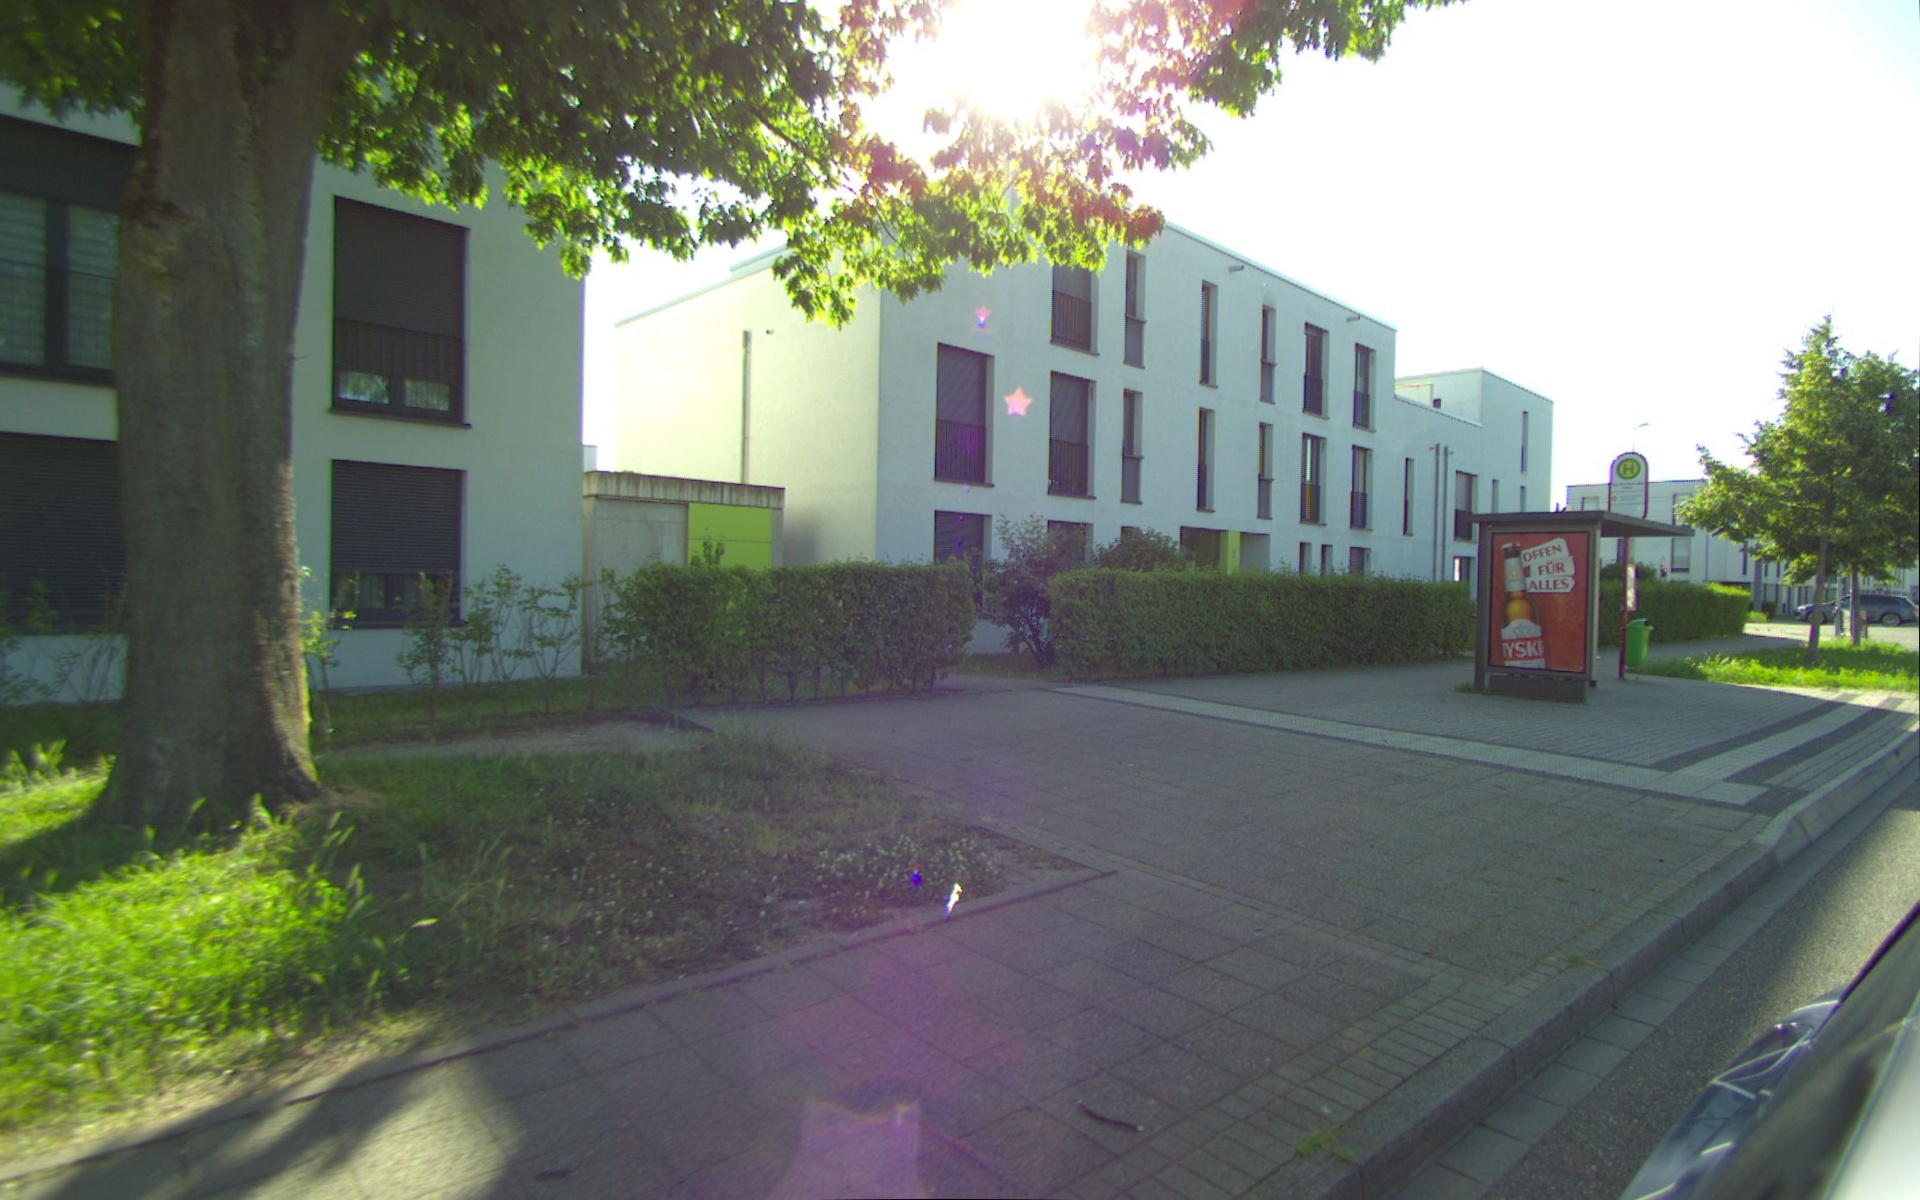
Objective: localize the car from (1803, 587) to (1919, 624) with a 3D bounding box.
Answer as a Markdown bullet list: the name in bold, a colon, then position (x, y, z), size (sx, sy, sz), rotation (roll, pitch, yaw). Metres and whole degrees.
- **car**: position (47.563, 0.266, 52.808), size (1.964, 1.759, 5.193), rotation (0, 1, -40)

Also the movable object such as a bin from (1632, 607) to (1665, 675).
- **movable object such as a bin**: position (10.820, 0.626, 15.910), size (0.368, 1.029, 0.591), rotation (2, 1, 38)
